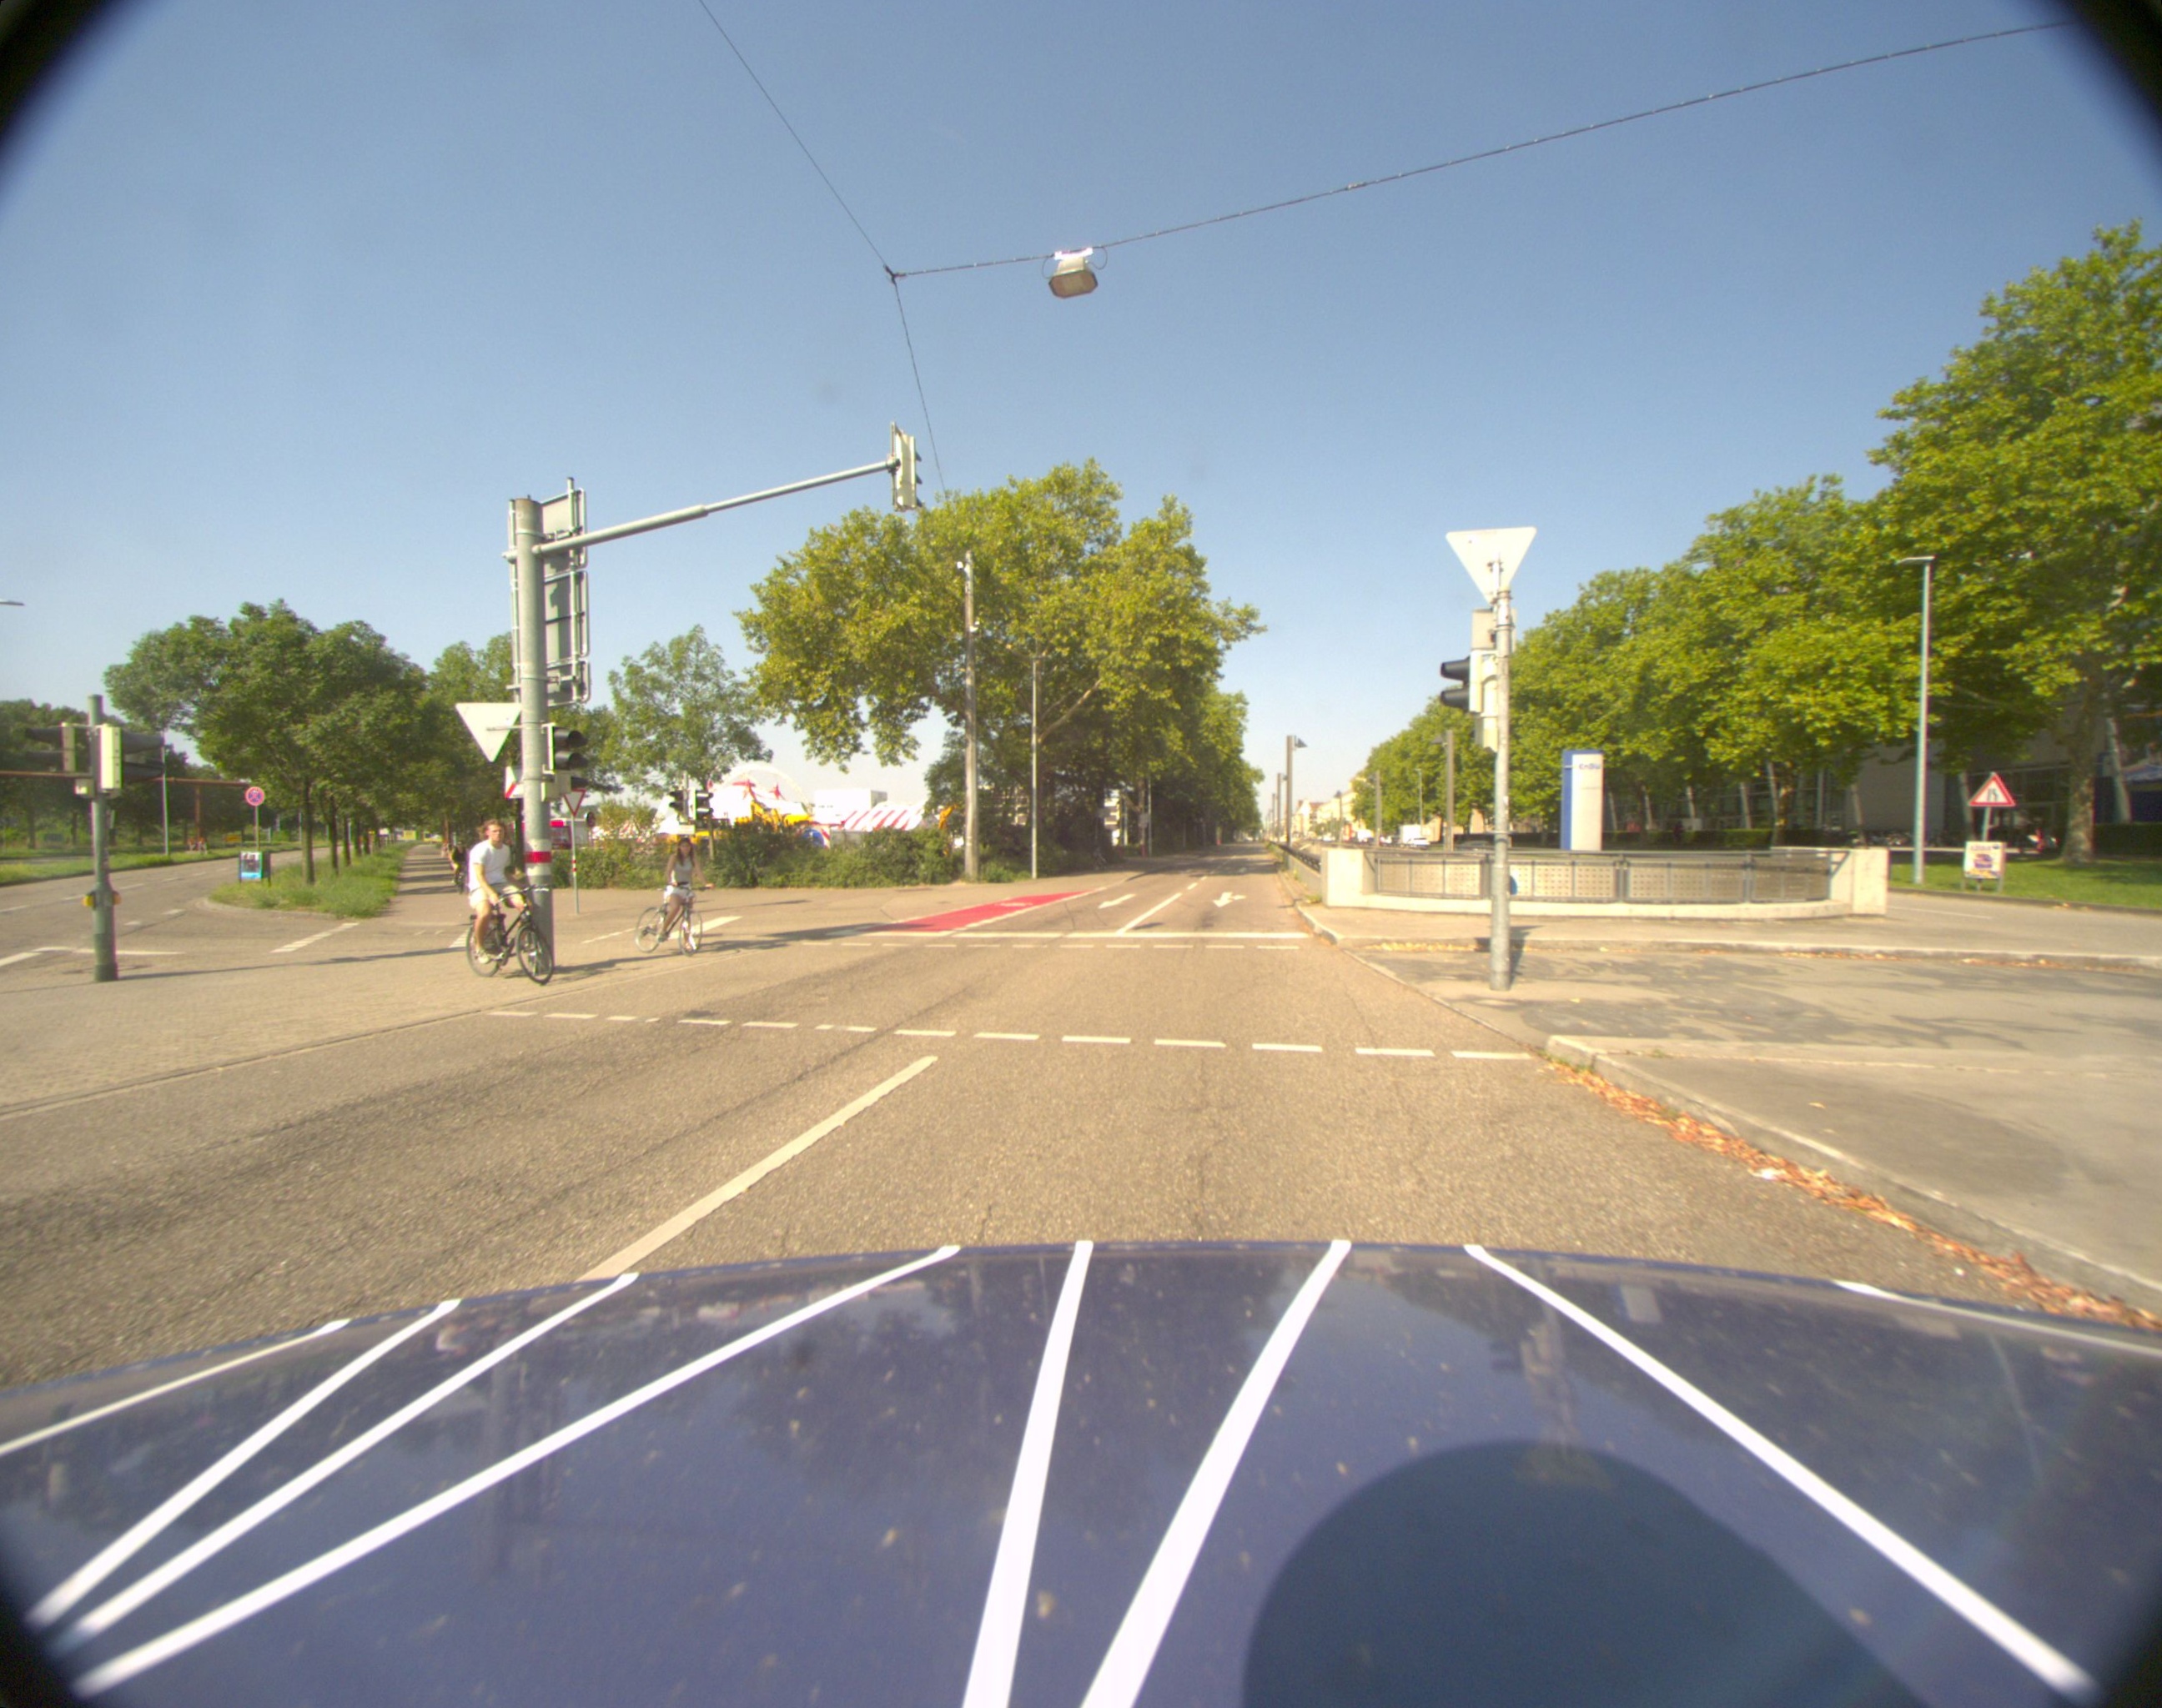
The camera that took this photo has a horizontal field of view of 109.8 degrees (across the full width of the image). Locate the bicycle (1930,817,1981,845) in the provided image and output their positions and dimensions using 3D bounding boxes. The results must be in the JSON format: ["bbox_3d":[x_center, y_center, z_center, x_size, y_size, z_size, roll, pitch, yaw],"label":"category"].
[{"bbox_3d":[52.581,-1.393,45.713,2.167,1.546,0.601,-3,2,6],"label":"bicycle"}]

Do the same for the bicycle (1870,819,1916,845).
[{"bbox_3d":[52.869,-1.423,49.473,2.167,1.546,0.601,-3,2,6],"label":"bicycle"}]

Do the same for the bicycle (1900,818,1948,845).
[{"bbox_3d":[52.716,-1.389,47.537,2.167,1.546,0.601,-3,2,6],"label":"bicycle"}]

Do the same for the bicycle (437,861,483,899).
[{"bbox_3d":[-19.167,0.786,23.498,0.573,1.050,1.491,-3,3,-20],"label":"bicycle"}]

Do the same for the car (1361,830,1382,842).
[{"bbox_3d":[39.460,-2.481,103.267,1.997,1.445,4.002,-3,1,12],"label":"car"}]

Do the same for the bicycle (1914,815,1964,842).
[{"bbox_3d":[52.697,-1.555,46.662,2.167,1.546,0.601,-3,2,6],"label":"bicycle"}]

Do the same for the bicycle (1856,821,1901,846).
[{"bbox_3d":[52.991,-1.382,50.476,2.167,1.546,0.601,-3,2,6],"label":"bicycle"}]

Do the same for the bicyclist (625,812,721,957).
[{"bbox_3d":[-5.932,0.420,11.042,1.201,2.002,0.599,-1,2,32],"label":"bicyclist"}]

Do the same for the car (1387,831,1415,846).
[{"bbox_3d":[34.491,-1.676,82.027,1.997,1.445,4.002,-3,1,12],"label":"car"}]

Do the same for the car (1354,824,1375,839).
[{"bbox_3d":[42.757,-3.411,114.827,2.289,2.068,4.659,-3,1,12],"label":"car"}]

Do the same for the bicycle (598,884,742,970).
[{"bbox_3d":[-6.053,1.022,11.138,2.256,1.081,0.774,-1,2,32],"label":"bicycle"}]

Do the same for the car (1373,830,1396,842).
[{"bbox_3d":[37.259,-2.222,93.424,1.997,1.445,4.002,-3,1,12],"label":"car"}]

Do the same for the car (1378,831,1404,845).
[{"bbox_3d":[35.643,-1.853,87.410,1.997,1.445,4.002,-3,1,12],"label":"car"}]

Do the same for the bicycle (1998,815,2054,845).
[{"bbox_3d":[52.376,-1.318,42.119,2.167,1.546,0.601,-3,2,6],"label":"bicycle"}]

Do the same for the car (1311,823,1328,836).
[{"bbox_3d":[40.902,-4.182,130.387,1.997,2.002,4.001,-2,1,8],"label":"car"}]

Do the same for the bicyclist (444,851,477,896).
[{"bbox_3d":[-19.189,0.594,23.508,0.503,1.357,0.695,-4,2,-19],"label":"bicyclist"}]

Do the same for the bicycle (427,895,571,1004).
[{"bbox_3d":[-6.970,1.071,9.053,2.214,1.081,0.774,-1,0,37],"label":"bicycle"}]

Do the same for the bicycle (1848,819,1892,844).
[{"bbox_3d":[53.089,-1.487,51.125,2.167,1.546,0.601,-3,2,6],"label":"bicycle"}]

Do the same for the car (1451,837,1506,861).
[{"bbox_3d":[22.465,-0.325,43.077,1.659,1.214,3.896,-3,1,11],"label":"car"}]

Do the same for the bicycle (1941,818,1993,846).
[{"bbox_3d":[52.491,-1.311,45.024,2.167,1.546,0.601,-3,2,6],"label":"bicycle"}]

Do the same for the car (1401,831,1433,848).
[{"bbox_3d":[32.053,-1.429,72.593,1.997,1.445,4.002,-3,1,12],"label":"car"}]

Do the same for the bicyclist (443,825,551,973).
[{"bbox_3d":[-6.727,0.492,8.741,1.201,1.585,0.599,-2,2,37],"label":"bicyclist"}]

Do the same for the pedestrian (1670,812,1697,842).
[{"bbox_3d":[41.499,-1.876,52.372,0.947,2.002,1.350,-2,2,15],"label":"pedestrian"}]

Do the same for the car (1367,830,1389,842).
[{"bbox_3d":[38.549,-2.338,98.847,1.997,1.445,4.002,-3,1,12],"label":"car"}]

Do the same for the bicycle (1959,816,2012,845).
[{"bbox_3d":[52.497,-1.353,44.110,2.167,1.546,0.601,-3,2,6],"label":"bicycle"}]

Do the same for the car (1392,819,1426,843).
[{"bbox_3d":[33.350,-2.338,77.377,2.289,2.220,4.659,-3,1,12],"label":"car"}]

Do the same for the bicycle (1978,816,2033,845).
[{"bbox_3d":[52.485,-1.349,43.156,2.167,1.546,0.601,-3,2,6],"label":"bicycle"}]
